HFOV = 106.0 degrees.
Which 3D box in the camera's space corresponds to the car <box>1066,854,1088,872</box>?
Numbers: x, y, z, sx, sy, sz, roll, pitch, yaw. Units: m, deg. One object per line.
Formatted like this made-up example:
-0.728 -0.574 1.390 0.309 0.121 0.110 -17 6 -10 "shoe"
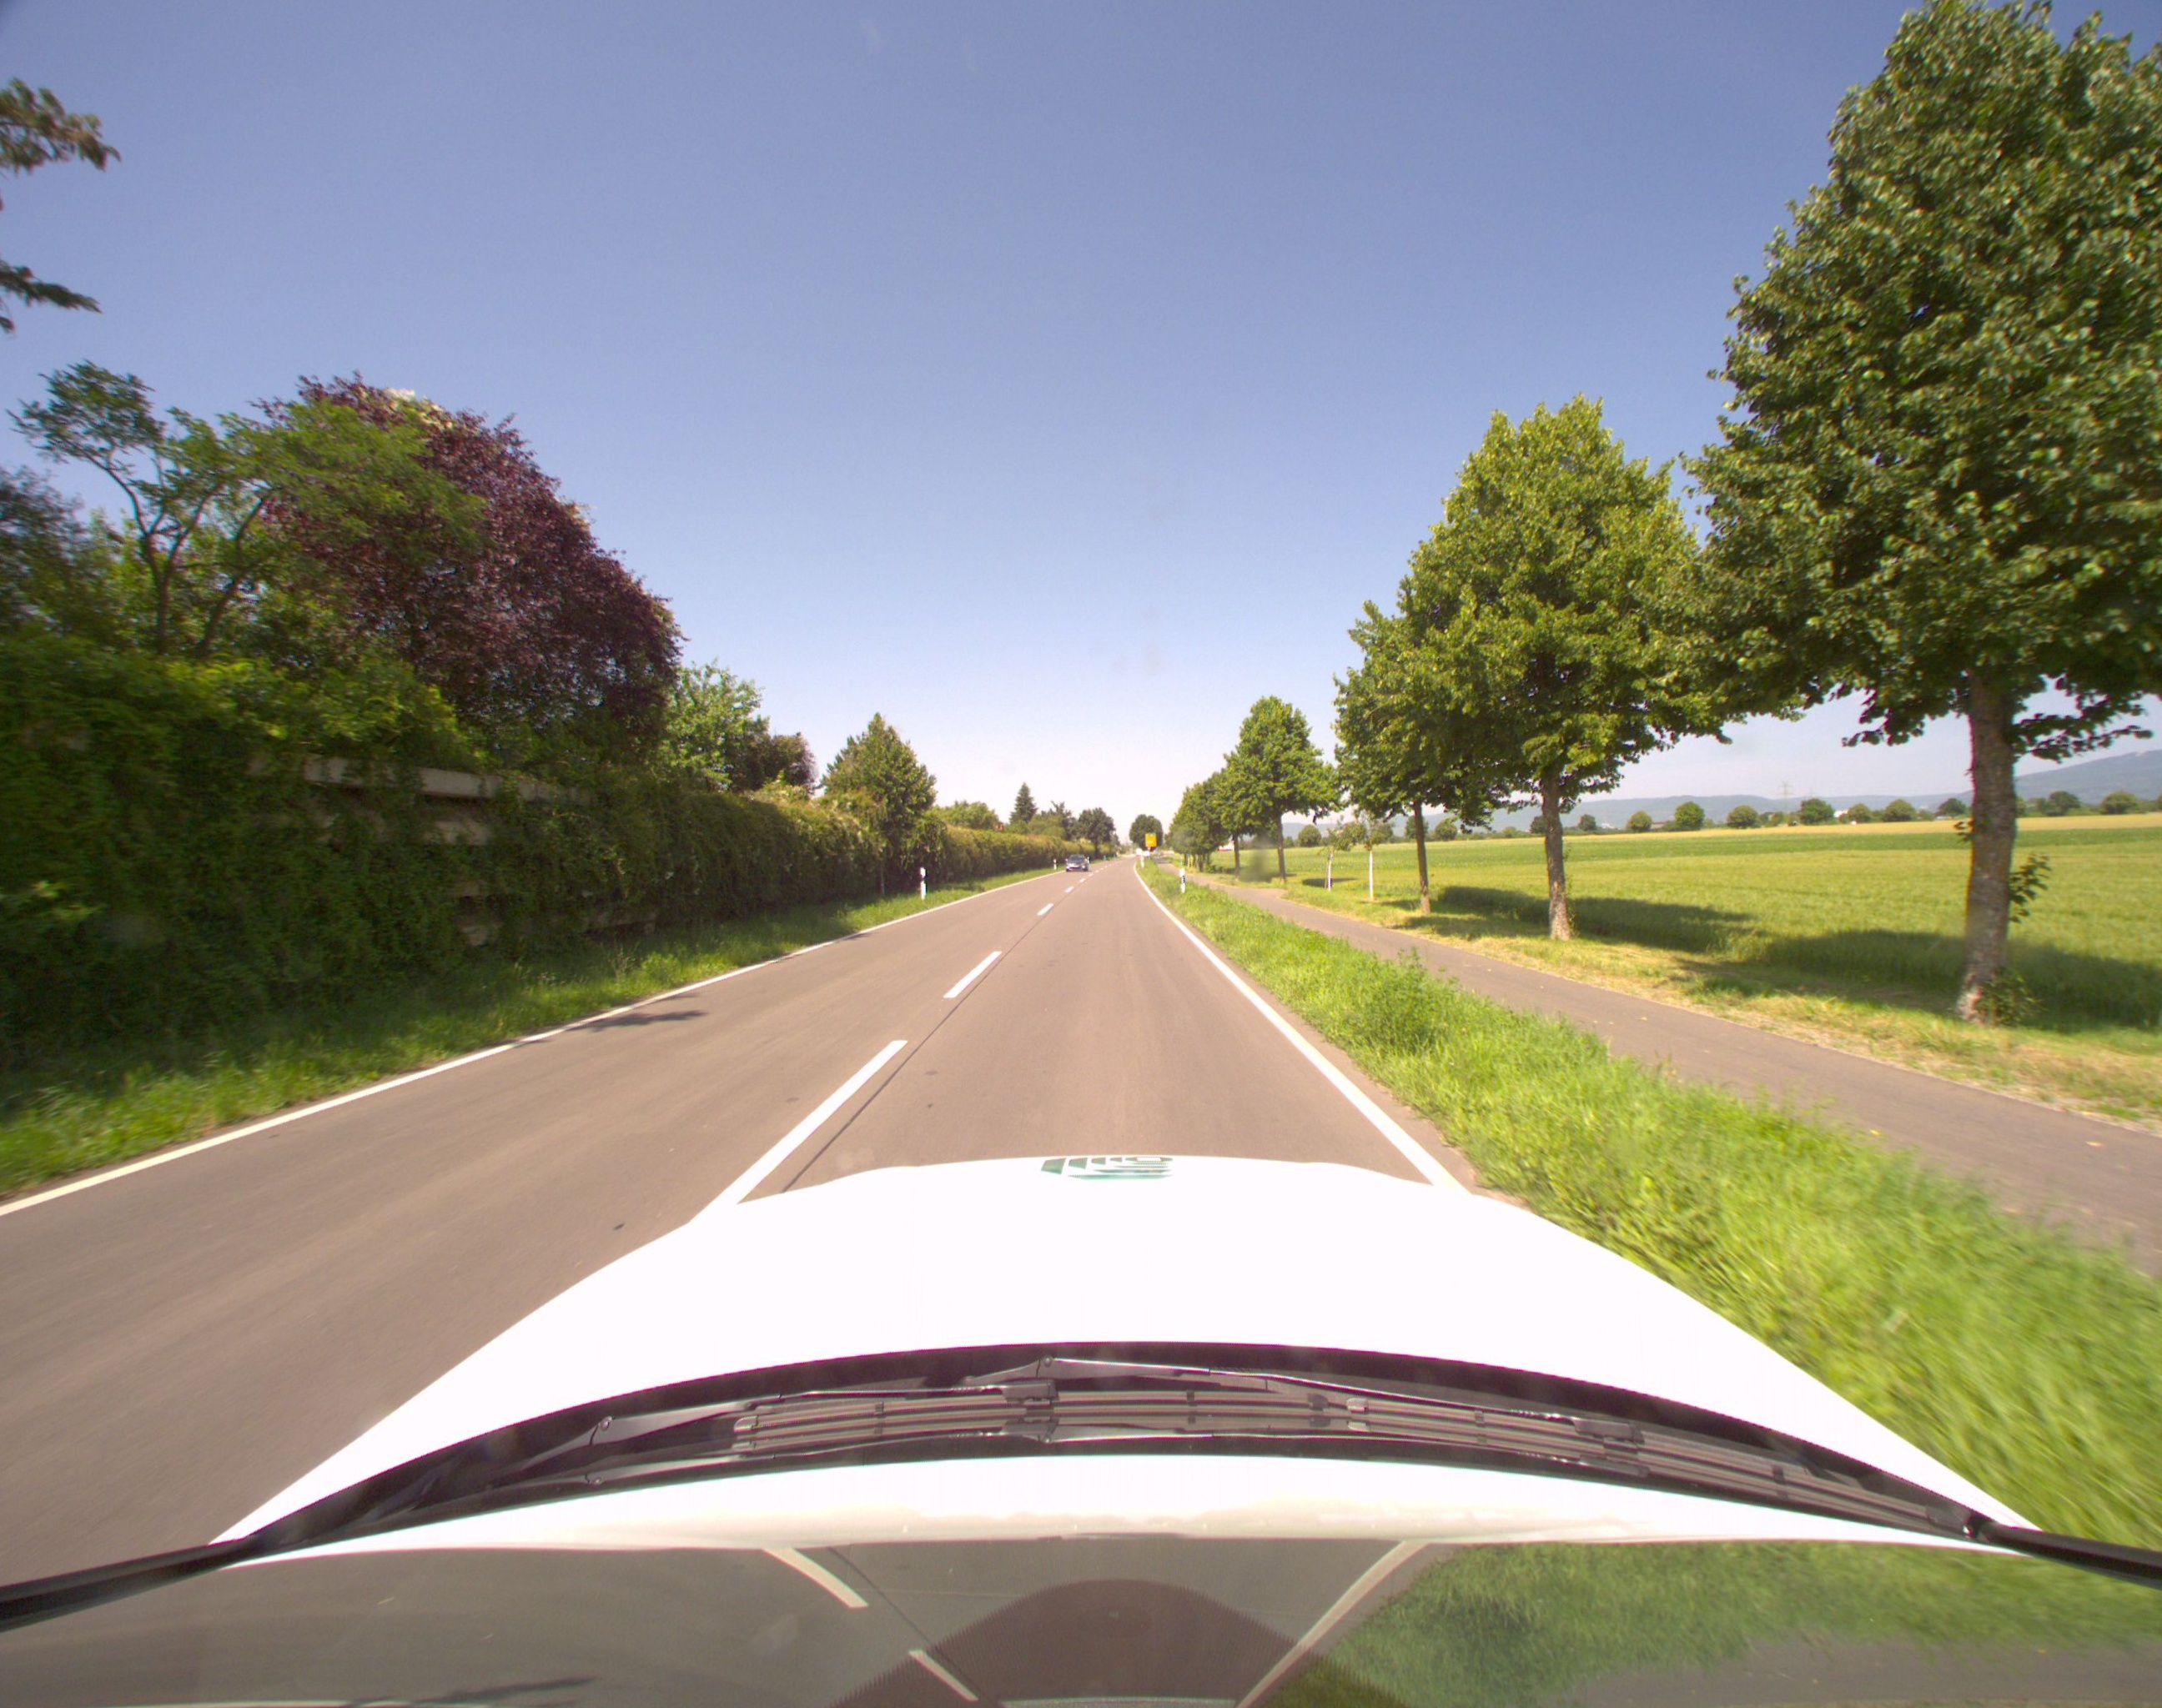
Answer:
-0.342 0.738 71.774 1.833 1.467 3.933 -2 0 1 "car"
